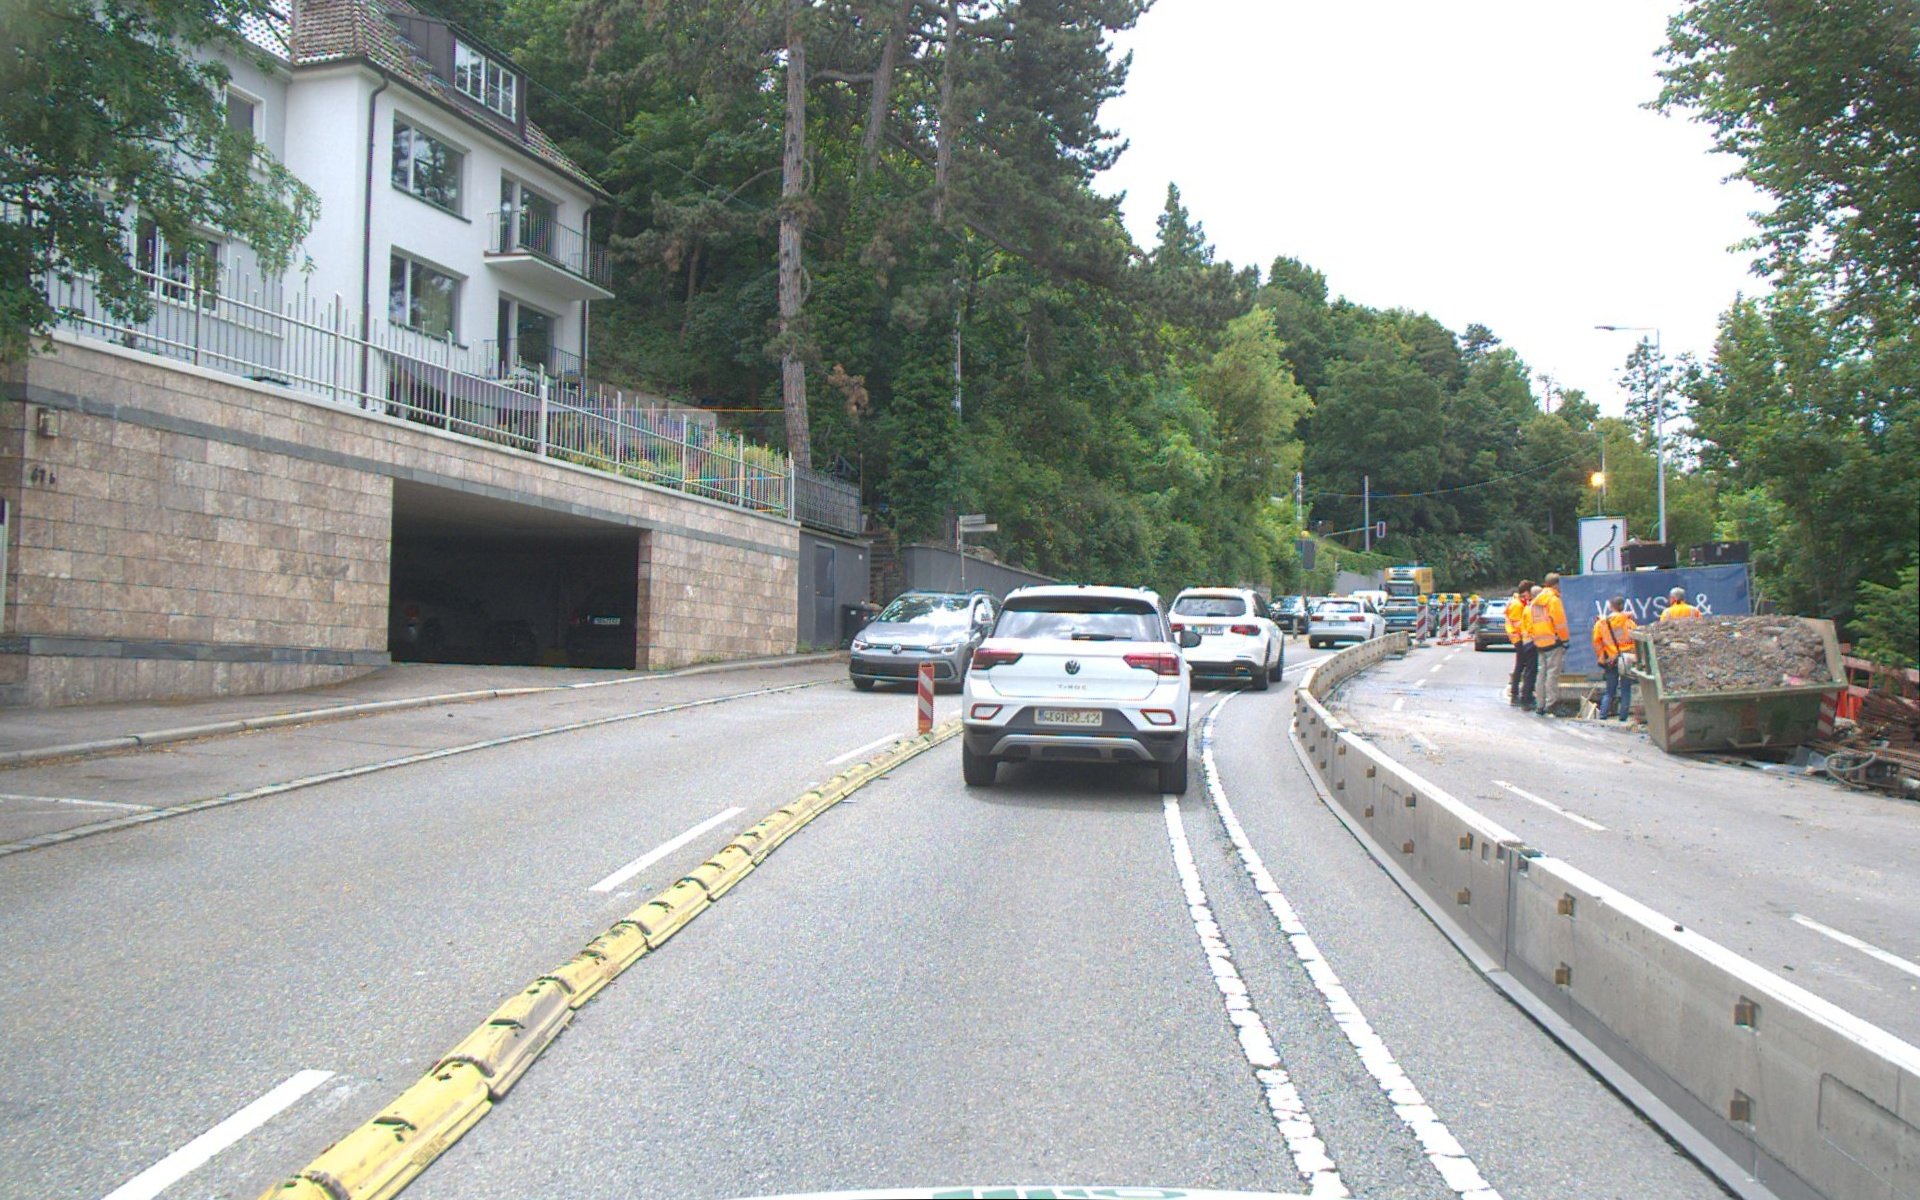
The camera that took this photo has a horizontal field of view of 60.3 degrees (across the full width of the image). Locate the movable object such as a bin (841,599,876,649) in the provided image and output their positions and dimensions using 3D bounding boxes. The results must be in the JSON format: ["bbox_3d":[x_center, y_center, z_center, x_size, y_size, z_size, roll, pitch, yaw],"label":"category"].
[{"bbox_3d":[-2.045,0.486,33.255,0.537,0.994,0.510,0,0,20],"label":"movable object such as a bin"}]

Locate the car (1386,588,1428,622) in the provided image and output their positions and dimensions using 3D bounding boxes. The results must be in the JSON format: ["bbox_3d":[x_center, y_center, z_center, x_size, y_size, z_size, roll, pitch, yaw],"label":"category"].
[{"bbox_3d":[22.897,0.243,84.696,1.772,1.692,4.001,0,0,20],"label":"car"}]

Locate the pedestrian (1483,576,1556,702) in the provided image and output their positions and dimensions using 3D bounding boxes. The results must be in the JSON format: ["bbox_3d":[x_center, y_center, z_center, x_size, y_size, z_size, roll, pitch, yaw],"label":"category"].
[{"bbox_3d":[8.419,0.568,24.924,0.857,1.854,0.879,1,0,6],"label":"pedestrian"}]

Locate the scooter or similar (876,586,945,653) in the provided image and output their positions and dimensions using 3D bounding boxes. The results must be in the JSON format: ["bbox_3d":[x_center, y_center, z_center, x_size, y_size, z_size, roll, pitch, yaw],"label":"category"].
[{"bbox_3d":[-0.980,0.372,32.368,1.283,1.277,0.466,1,0,-8],"label":"scooter or similar"}]

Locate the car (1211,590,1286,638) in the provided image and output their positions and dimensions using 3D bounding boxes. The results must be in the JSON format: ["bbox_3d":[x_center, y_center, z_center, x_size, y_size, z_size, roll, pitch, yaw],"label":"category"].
[{"bbox_3d":[9.712,0.442,55.439,1.731,1.477,4.309,2,1,20],"label":"car"}]

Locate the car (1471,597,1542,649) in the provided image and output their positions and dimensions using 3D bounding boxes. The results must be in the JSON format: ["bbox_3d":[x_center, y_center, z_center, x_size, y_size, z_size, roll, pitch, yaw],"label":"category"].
[{"bbox_3d":[15.607,0.625,47.145,1.757,1.392,4.001,0,0,20],"label":"car"}]

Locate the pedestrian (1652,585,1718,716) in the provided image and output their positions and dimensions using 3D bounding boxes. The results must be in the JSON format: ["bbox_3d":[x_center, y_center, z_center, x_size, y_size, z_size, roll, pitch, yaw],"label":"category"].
[{"bbox_3d":[9.728,0.662,22.217,0.767,1.717,0.785,1,0,22],"label":"pedestrian"}]

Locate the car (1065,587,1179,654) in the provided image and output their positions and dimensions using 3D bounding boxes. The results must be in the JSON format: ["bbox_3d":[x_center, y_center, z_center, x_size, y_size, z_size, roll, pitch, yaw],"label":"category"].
[{"bbox_3d":[3.976,0.472,39.970,1.731,1.460,4.310,2,1,19],"label":"car"}]

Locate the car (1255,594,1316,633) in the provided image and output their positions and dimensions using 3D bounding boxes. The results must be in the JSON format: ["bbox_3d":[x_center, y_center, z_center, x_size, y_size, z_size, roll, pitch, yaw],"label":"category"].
[{"bbox_3d":[13.257,0.535,67.239,1.731,1.477,4.309,2,1,20],"label":"car"}]

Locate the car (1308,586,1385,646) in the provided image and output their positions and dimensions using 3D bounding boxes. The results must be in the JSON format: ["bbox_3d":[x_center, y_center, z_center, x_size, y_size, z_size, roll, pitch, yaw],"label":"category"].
[{"bbox_3d":[11.501,0.442,49.069,1.772,1.692,4.001,0,0,20],"label":"car"}]

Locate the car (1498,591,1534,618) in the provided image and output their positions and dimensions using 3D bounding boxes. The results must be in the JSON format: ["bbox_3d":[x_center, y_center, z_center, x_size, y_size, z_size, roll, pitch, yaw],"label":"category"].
[{"bbox_3d":[28.888,0.233,85.948,1.757,1.392,4.001,0,0,19],"label":"car"}]

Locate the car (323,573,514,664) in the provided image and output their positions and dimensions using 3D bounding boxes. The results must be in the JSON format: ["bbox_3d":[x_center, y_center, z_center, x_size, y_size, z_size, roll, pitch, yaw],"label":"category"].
[{"bbox_3d":[-9.437,0.359,29.098,1.733,1.444,3.548,2,-2,8],"label":"car"}]

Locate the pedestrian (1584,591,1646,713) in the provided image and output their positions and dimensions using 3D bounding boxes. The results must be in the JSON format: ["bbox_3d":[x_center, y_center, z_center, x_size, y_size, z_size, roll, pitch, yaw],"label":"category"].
[{"bbox_3d":[9.013,0.697,22.753,0.766,1.636,0.667,1,0,22],"label":"pedestrian"}]

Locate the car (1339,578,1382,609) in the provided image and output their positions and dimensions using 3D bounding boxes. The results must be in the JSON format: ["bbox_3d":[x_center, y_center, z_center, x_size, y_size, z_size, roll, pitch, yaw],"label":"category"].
[{"bbox_3d":[20.451,-0.315,84.443,1.731,1.477,4.310,2,1,18],"label":"car"}]

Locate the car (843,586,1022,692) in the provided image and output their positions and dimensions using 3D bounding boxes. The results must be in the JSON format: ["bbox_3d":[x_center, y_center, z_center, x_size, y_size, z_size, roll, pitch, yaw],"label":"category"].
[{"bbox_3d":[-0.320,0.543,25.542,1.730,1.460,4.312,1,0,13],"label":"car"}]

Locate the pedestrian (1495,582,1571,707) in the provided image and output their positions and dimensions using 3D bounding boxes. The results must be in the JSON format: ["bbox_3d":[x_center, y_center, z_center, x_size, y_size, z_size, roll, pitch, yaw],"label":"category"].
[{"bbox_3d":[8.277,0.633,23.926,0.857,1.761,0.879,1,0,6],"label":"pedestrian"}]

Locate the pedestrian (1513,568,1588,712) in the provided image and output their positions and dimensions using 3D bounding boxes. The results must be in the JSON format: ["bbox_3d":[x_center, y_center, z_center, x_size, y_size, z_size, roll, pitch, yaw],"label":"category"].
[{"bbox_3d":[8.129,0.541,22.794,0.677,1.940,0.824,1,0,-6],"label":"pedestrian"}]

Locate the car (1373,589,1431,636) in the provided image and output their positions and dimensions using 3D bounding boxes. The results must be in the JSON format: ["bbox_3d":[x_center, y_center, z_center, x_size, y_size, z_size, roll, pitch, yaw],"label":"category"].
[{"bbox_3d":[16.575,0.445,61.925,1.772,1.692,4.001,0,0,20],"label":"car"}]

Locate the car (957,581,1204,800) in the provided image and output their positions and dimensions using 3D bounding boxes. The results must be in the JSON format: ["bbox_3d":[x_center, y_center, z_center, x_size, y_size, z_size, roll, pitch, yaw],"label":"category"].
[{"bbox_3d":[1.115,0.633,13.943,1.771,1.558,4.003,1,0,7],"label":"car"}]

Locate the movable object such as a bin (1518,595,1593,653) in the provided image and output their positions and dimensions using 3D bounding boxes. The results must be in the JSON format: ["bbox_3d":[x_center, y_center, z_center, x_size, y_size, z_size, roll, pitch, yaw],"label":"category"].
[{"bbox_3d":[15.522,0.616,43.182,1.365,1.450,1.907,1,0,4],"label":"movable object such as a bin"}]

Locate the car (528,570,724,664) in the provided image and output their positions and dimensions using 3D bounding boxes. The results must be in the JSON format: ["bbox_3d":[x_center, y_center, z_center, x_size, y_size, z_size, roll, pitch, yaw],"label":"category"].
[{"bbox_3d":[-5.722,0.333,28.820,1.744,1.478,3.704,2,-2,17],"label":"car"}]

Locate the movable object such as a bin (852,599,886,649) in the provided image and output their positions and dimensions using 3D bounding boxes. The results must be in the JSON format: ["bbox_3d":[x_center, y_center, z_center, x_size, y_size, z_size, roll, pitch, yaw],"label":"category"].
[{"bbox_3d":[-1.861,0.489,33.787,0.537,0.994,0.510,0,0,20],"label":"movable object such as a bin"}]

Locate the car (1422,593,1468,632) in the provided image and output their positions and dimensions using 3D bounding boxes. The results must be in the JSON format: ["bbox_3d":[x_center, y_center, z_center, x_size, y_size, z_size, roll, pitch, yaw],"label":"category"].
[{"bbox_3d":[21.878,0.532,74.586,1.772,1.692,4.001,0,0,20],"label":"car"}]

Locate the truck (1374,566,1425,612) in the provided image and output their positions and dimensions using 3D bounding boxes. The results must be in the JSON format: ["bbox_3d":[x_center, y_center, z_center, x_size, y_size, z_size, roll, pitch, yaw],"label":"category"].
[{"bbox_3d":[32.083,-0.753,120.582,2.844,3.210,7.584,0,0,21],"label":"truck"}]

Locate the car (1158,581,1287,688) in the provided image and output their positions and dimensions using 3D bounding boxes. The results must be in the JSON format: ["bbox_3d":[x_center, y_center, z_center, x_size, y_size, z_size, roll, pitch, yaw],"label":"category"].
[{"bbox_3d":[4.573,0.537,28.365,1.771,1.692,4.003,0,0,15],"label":"car"}]
